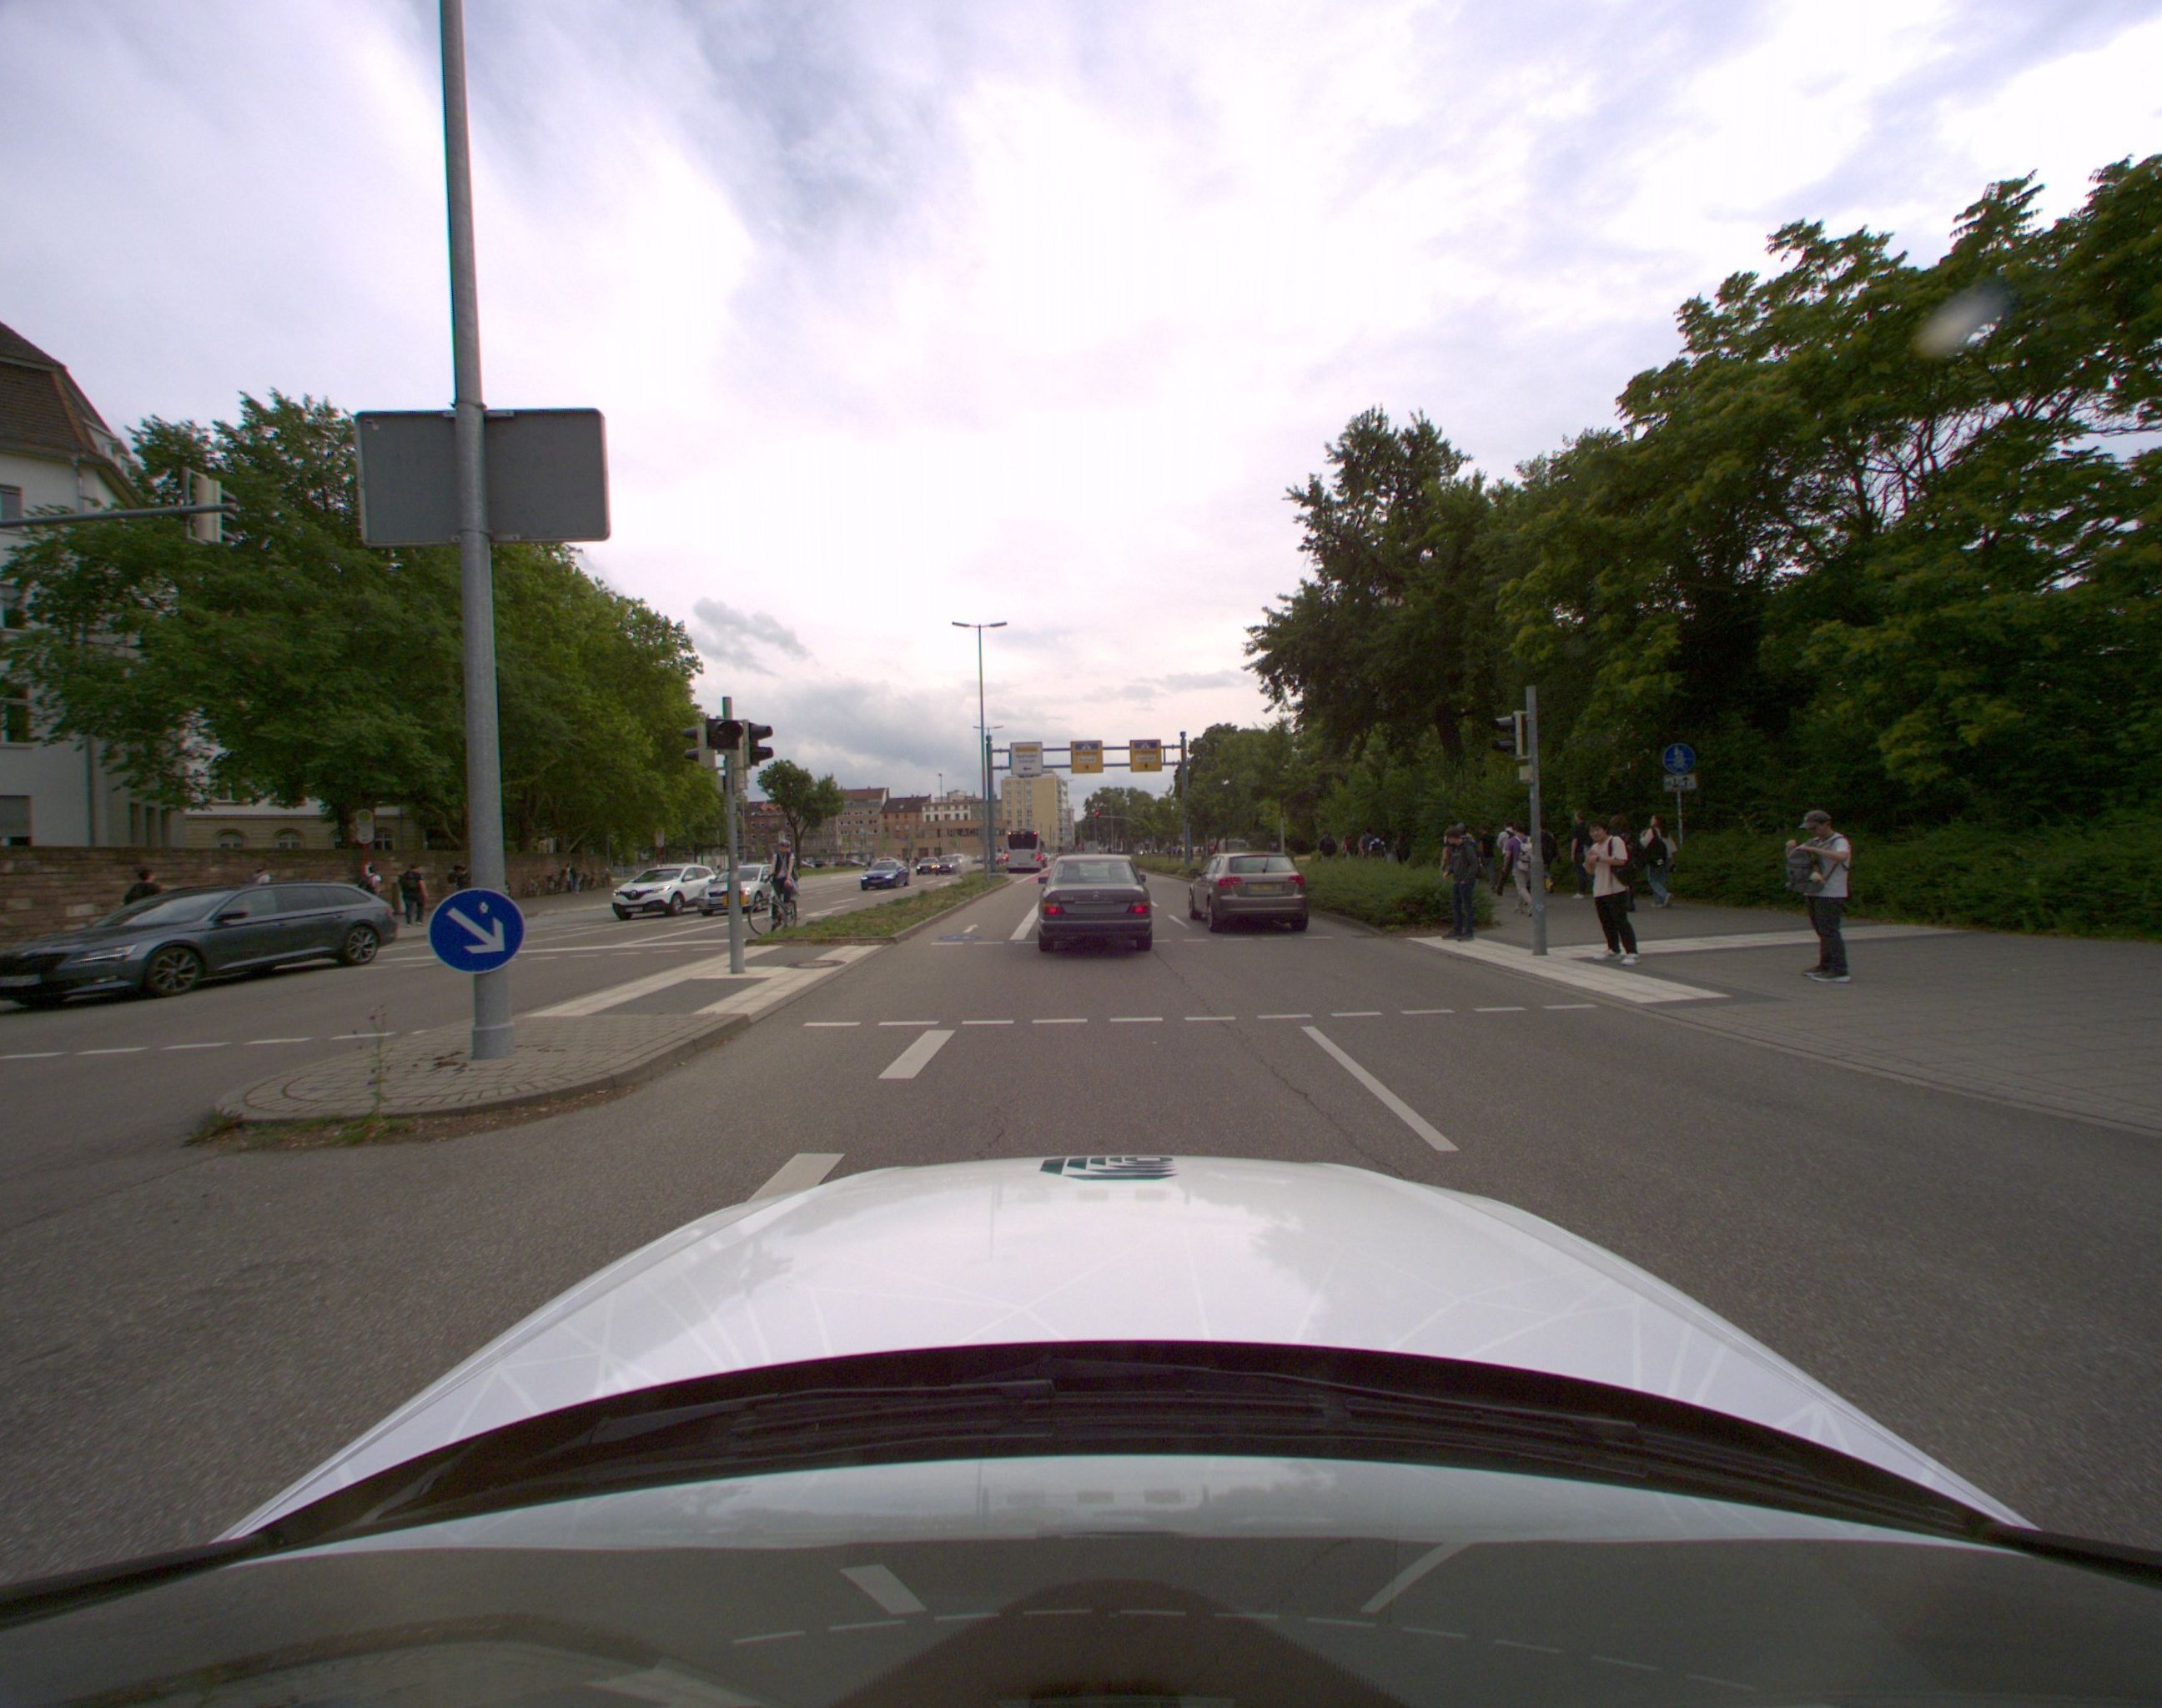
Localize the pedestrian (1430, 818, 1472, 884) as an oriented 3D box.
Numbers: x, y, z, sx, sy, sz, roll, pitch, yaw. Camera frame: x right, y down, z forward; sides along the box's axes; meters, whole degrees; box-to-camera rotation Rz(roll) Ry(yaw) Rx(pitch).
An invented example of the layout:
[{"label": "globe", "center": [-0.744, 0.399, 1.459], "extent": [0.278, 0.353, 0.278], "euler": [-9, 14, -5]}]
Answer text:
[{"label": "pedestrian", "center": [10.200, -0.084, 22.479], "extent": [0.719, 1.744, 0.812], "euler": [-2, 0, -1]}]

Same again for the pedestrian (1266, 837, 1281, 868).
[{"label": "pedestrian", "center": [10.583, -0.091, 44.841], "extent": [0.585, 1.682, 0.748], "euler": [-2, 0, -1]}]

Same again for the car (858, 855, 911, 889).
[{"label": "car", "center": [-10.045, 0.887, 41.898], "extent": [1.797, 1.511, 4.102], "euler": [-2, 1, -1]}]

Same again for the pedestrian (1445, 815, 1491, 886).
[{"label": "pedestrian", "center": [9.626, -0.084, 20.269], "extent": [0.655, 1.689, 0.841], "euler": [-2, 0, -3]}]

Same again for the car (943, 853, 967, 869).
[{"label": "car", "center": [-13.023, 0.703, 84.207], "extent": [1.796, 1.489, 4.415], "euler": [-2, 0, 0]}]

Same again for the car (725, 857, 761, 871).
[{"label": "car", "center": [-46.390, 1.373, 111.802], "extent": [4.150, 1.649, 1.643], "euler": [-2, 0, -7]}]

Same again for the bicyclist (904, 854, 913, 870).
[{"label": "bicyclist", "center": [-15.819, 0.760, 74.628], "extent": [0.578, 1.419, 0.811], "euler": [-2, 0, 0]}]

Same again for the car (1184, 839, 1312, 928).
[{"label": "car", "center": [3.092, 0.491, 15.767], "extent": [1.718, 1.457, 3.736], "euler": [-2, 0, 1]}]

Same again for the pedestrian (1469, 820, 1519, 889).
[{"label": "pedestrian", "center": [10.322, 0.019, 20.377], "extent": [0.655, 1.667, 0.970], "euler": [-2, 0, -3]}]

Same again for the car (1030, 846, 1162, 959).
[{"label": "car", "center": [0.219, 0.650, 13.179], "extent": [1.755, 1.489, 4.171], "euler": [-2, 0, 0]}]

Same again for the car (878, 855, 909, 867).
[{"label": "car", "center": [-25.051, 0.932, 109.057], "extent": [3.851, 1.517, 1.657], "euler": [-1, 0, -6]}]

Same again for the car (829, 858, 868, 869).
[{"label": "car", "center": [-31.024, 1.233, 108.807], "extent": [4.663, 1.475, 1.657], "euler": [0, 0, -6]}]

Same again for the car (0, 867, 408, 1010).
[{"label": "car", "center": [-13.003, 1.073, 12.272], "extent": [1.893, 1.616, 4.739], "euler": [-2, 0, -3]}]

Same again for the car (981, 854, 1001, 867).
[{"label": "car", "center": [-11.498, 0.846, 104.624], "extent": [1.794, 1.489, 4.292], "euler": [-2, 0, 3]}]

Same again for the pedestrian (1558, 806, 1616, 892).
[{"label": "pedestrian", "center": [10.648, -0.109, 17.160], "extent": [0.655, 1.745, 0.779], "euler": [-2, 0, -3]}]

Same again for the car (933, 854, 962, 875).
[{"label": "car", "center": [-10.309, 0.756, 63.025], "extent": [1.566, 1.489, 3.637], "euler": [-3, 0, 1]}]

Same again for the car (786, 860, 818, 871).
[{"label": "car", "center": [-37.089, 1.586, 108.403], "extent": [3.758, 1.394, 1.581], "euler": [-1, 0, -6]}]

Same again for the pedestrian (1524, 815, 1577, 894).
[{"label": "pedestrian", "center": [10.457, 0.008, 18.162], "extent": [0.655, 1.699, 0.779], "euler": [-2, 0, -3]}]

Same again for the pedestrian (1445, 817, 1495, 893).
[{"label": "pedestrian", "center": [8.704, 0.019, 18.261], "extent": [0.655, 1.648, 0.811], "euler": [-2, 0, -3]}]

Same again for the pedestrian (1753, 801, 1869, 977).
[{"label": "pedestrian", "center": [7.335, 0.337, 8.203], "extent": [0.544, 1.687, 0.636], "euler": [-2, 0, -3]}]

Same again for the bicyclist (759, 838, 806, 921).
[{"label": "bicyclist", "center": [-5.782, 0.480, 15.796], "extent": [0.570, 1.574, 0.700], "euler": [-2, 0, 3]}]

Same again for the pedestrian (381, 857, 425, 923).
[{"label": "pedestrian", "center": [-18.944, 0.986, 22.764], "extent": [0.762, 1.782, 0.716], "euler": [-1, -2, -25]}]

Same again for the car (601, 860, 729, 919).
[{"label": "car", "center": [-13.294, 1.064, 26.367], "extent": [1.859, 1.652, 4.420], "euler": [-2, 0, -1]}]

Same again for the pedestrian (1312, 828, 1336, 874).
[{"label": "pedestrian", "center": [9.361, -0.116, 31.357], "extent": [0.617, 1.735, 0.814], "euler": [-2, 0, -1]}]

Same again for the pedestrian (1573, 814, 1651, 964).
[{"label": "pedestrian", "center": [6.401, 0.404, 9.836], "extent": [0.453, 1.735, 0.636], "euler": [-2, 0, -3]}]

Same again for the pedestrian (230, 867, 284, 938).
[{"label": "pedestrian", "center": [-21.585, 1.265, 21.357], "extent": [0.763, 1.782, 0.906], "euler": [-1, -2, -30]}]

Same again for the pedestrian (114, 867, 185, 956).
[{"label": "pedestrian", "center": [-19.571, 1.185, 17.130], "extent": [0.763, 1.782, 0.776], "euler": [-1, -2, -30]}]

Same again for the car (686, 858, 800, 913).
[{"label": "car", "center": [-10.397, 0.912, 25.422], "extent": [1.797, 1.489, 4.286], "euler": [-2, 0, -1]}]

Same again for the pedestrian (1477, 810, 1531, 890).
[{"label": "pedestrian", "center": [9.705, -0.089, 18.720], "extent": [0.655, 1.766, 0.957], "euler": [-3, 0, -3]}]

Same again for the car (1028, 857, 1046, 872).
[{"label": "car", "center": [-4.461, 1.031, 82.444], "extent": [1.651, 1.396, 3.856], "euler": [-2, 1, -3]}]

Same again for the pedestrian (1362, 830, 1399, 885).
[{"label": "pedestrian", "center": [9.031, 0.108, 24.585], "extent": [0.773, 1.602, 0.812], "euler": [-2, 0, -1]}]

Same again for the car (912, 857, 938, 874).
[{"label": "car", "center": [-13.362, 0.991, 69.925], "extent": [1.497, 1.365, 3.833], "euler": [-1, 0, 1]}]

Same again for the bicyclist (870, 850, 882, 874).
[{"label": "bicyclist", "center": [-15.695, 0.621, 62.335], "extent": [0.615, 1.782, 0.812], "euler": [-2, 0, 4]}]
